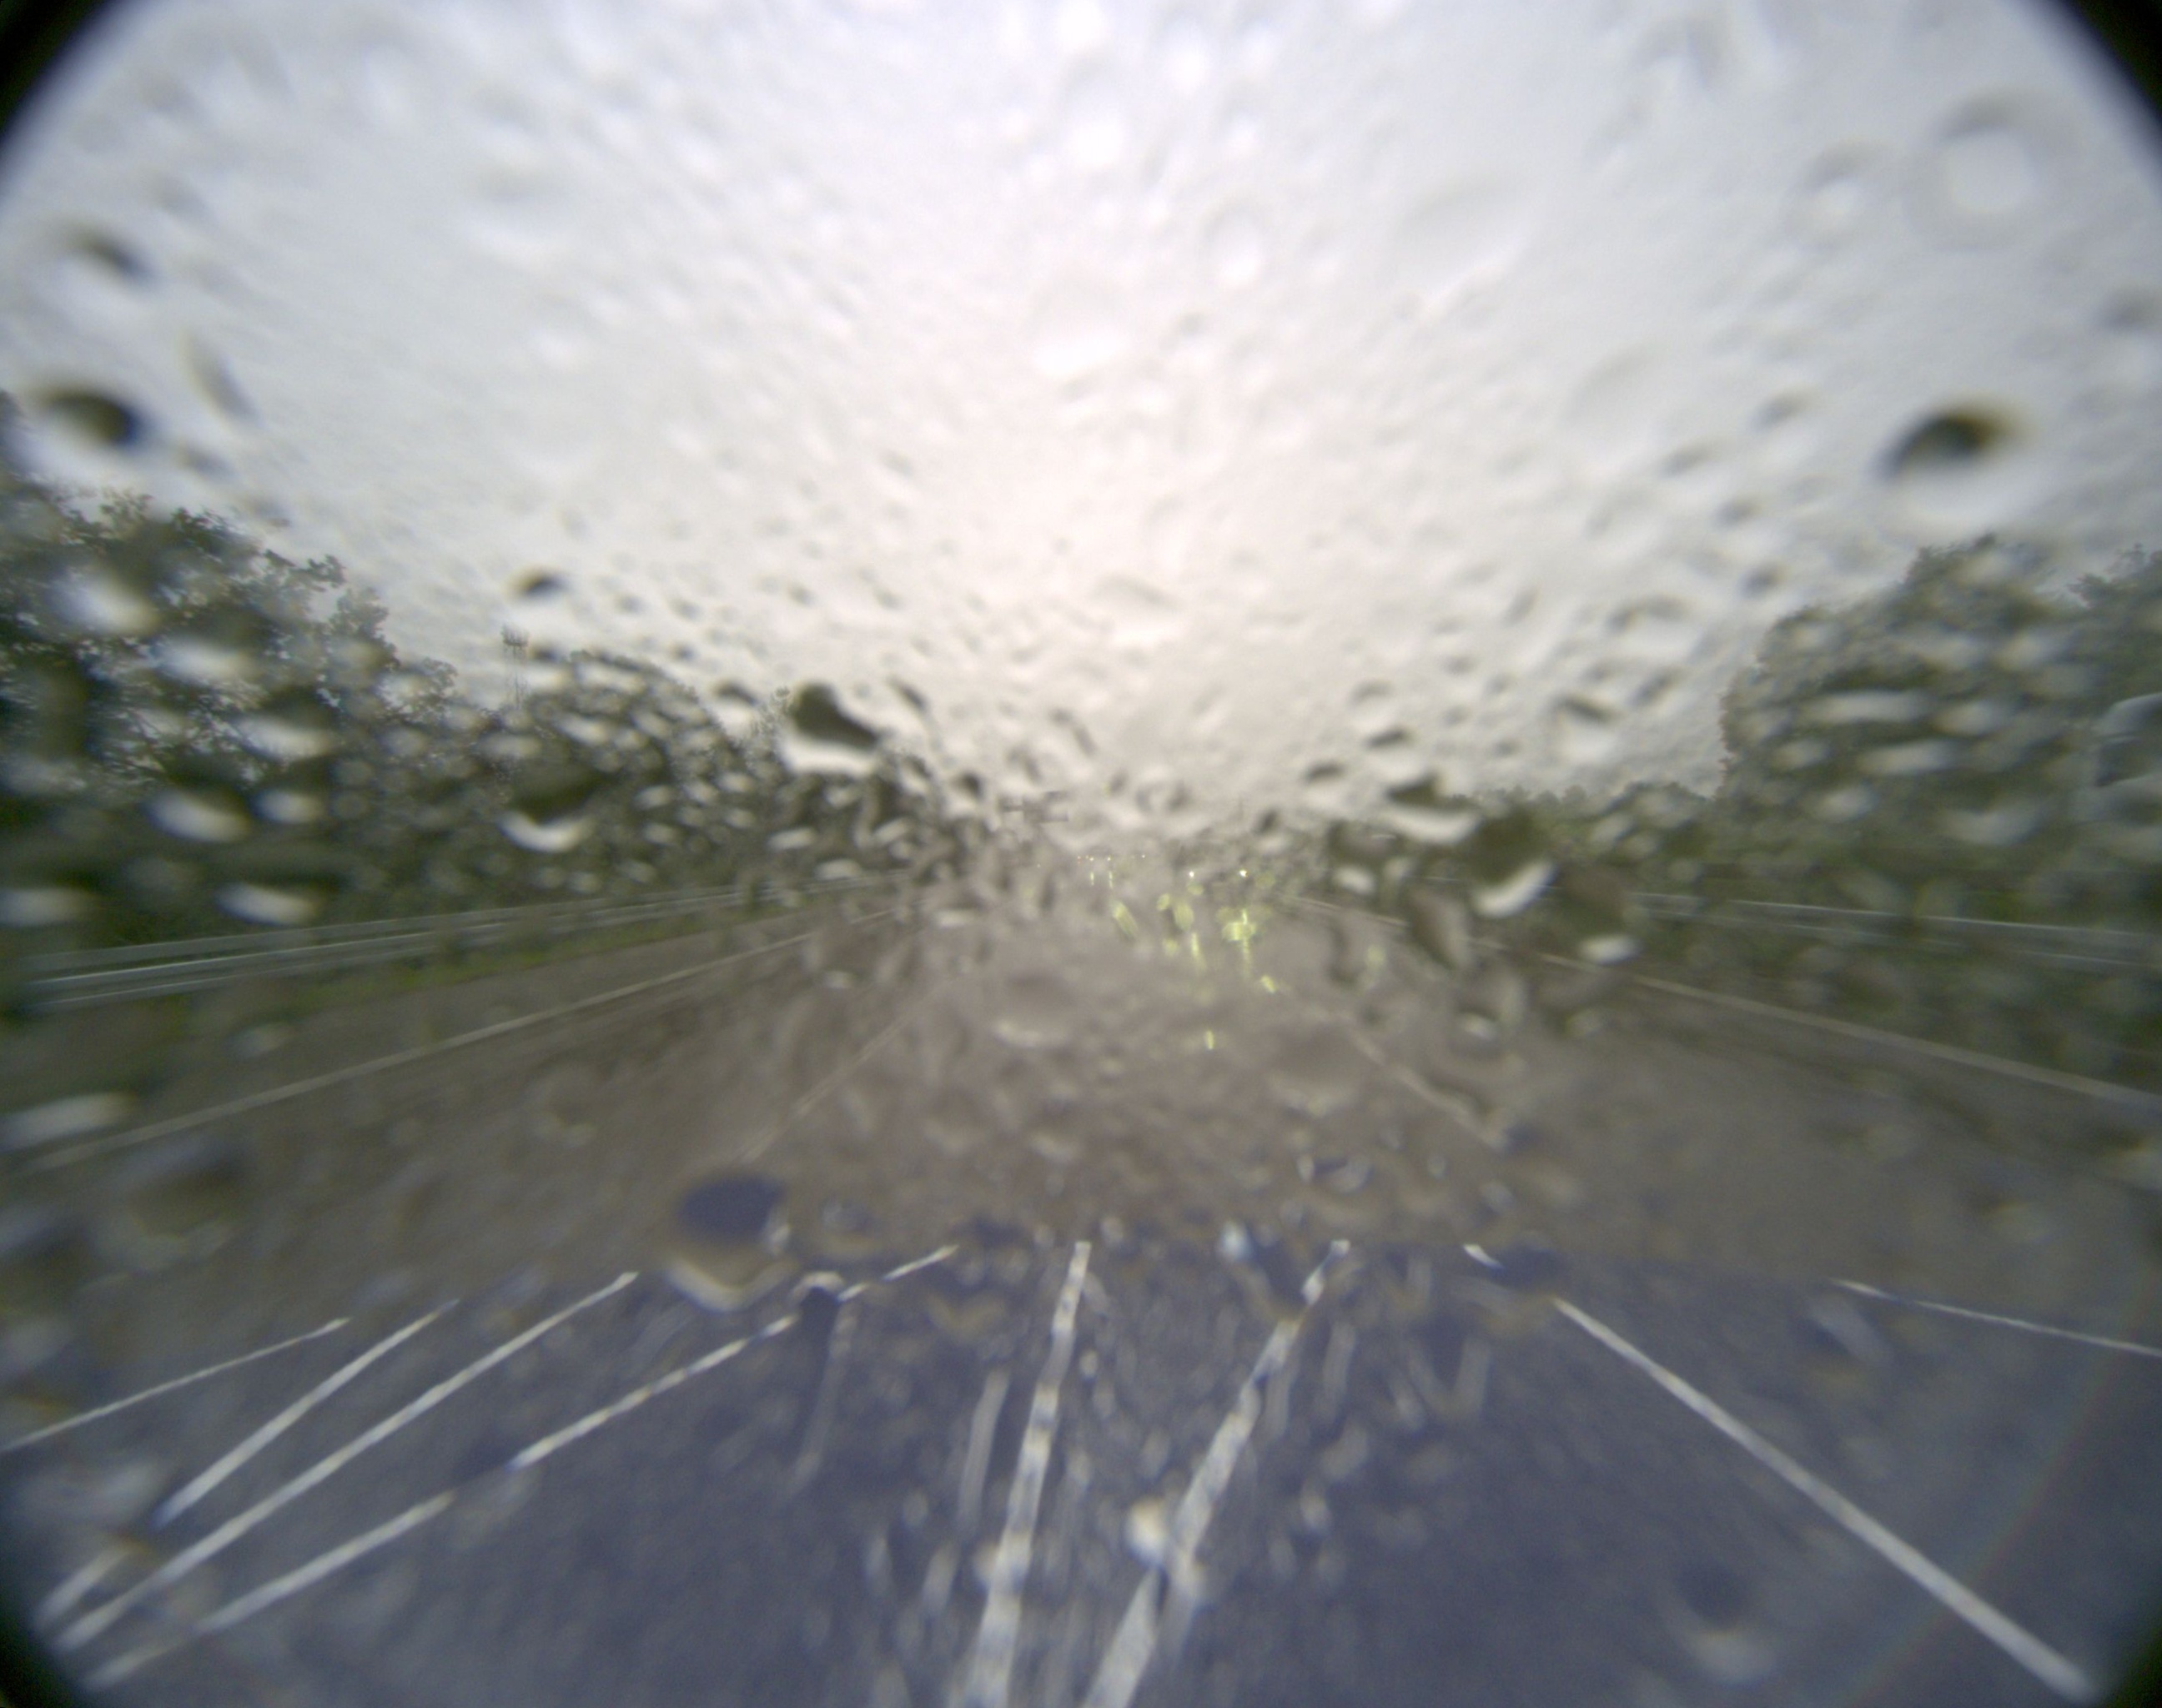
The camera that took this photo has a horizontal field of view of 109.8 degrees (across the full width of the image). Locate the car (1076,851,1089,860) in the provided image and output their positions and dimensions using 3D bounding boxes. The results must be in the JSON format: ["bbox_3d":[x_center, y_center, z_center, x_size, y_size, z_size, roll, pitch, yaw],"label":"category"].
[{"bbox_3d":[0.320,0.261,121.812,1.753,1.205,4.001,-5,0,4],"label":"car"}]

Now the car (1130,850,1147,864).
[{"bbox_3d":[6.265,0.327,83.346,1.752,1.369,4.000,-2,1,4],"label":"car"}]

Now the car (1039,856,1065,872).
[{"bbox_3d":[-2.442,0.840,65.418,1.753,1.205,4.001,-5,0,4],"label":"car"}]

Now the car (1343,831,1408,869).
[{"bbox_3d":[14.510,-0.202,37.665,1.744,1.753,3.801,-2,1,1],"label":"car"}]

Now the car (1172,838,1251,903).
[{"bbox_3d":[3.956,0.440,23.757,2.046,1.763,4.502,-2,1,6],"label":"car"}]

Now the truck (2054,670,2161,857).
[{"bbox_3d":[20.993,-1.725,12.538,2.673,3.397,5.527,-4,0,1],"label":"truck"}]

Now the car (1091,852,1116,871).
[{"bbox_3d":[1.824,0.575,60.436,1.752,1.406,4.001,-3,0,4],"label":"car"}]
